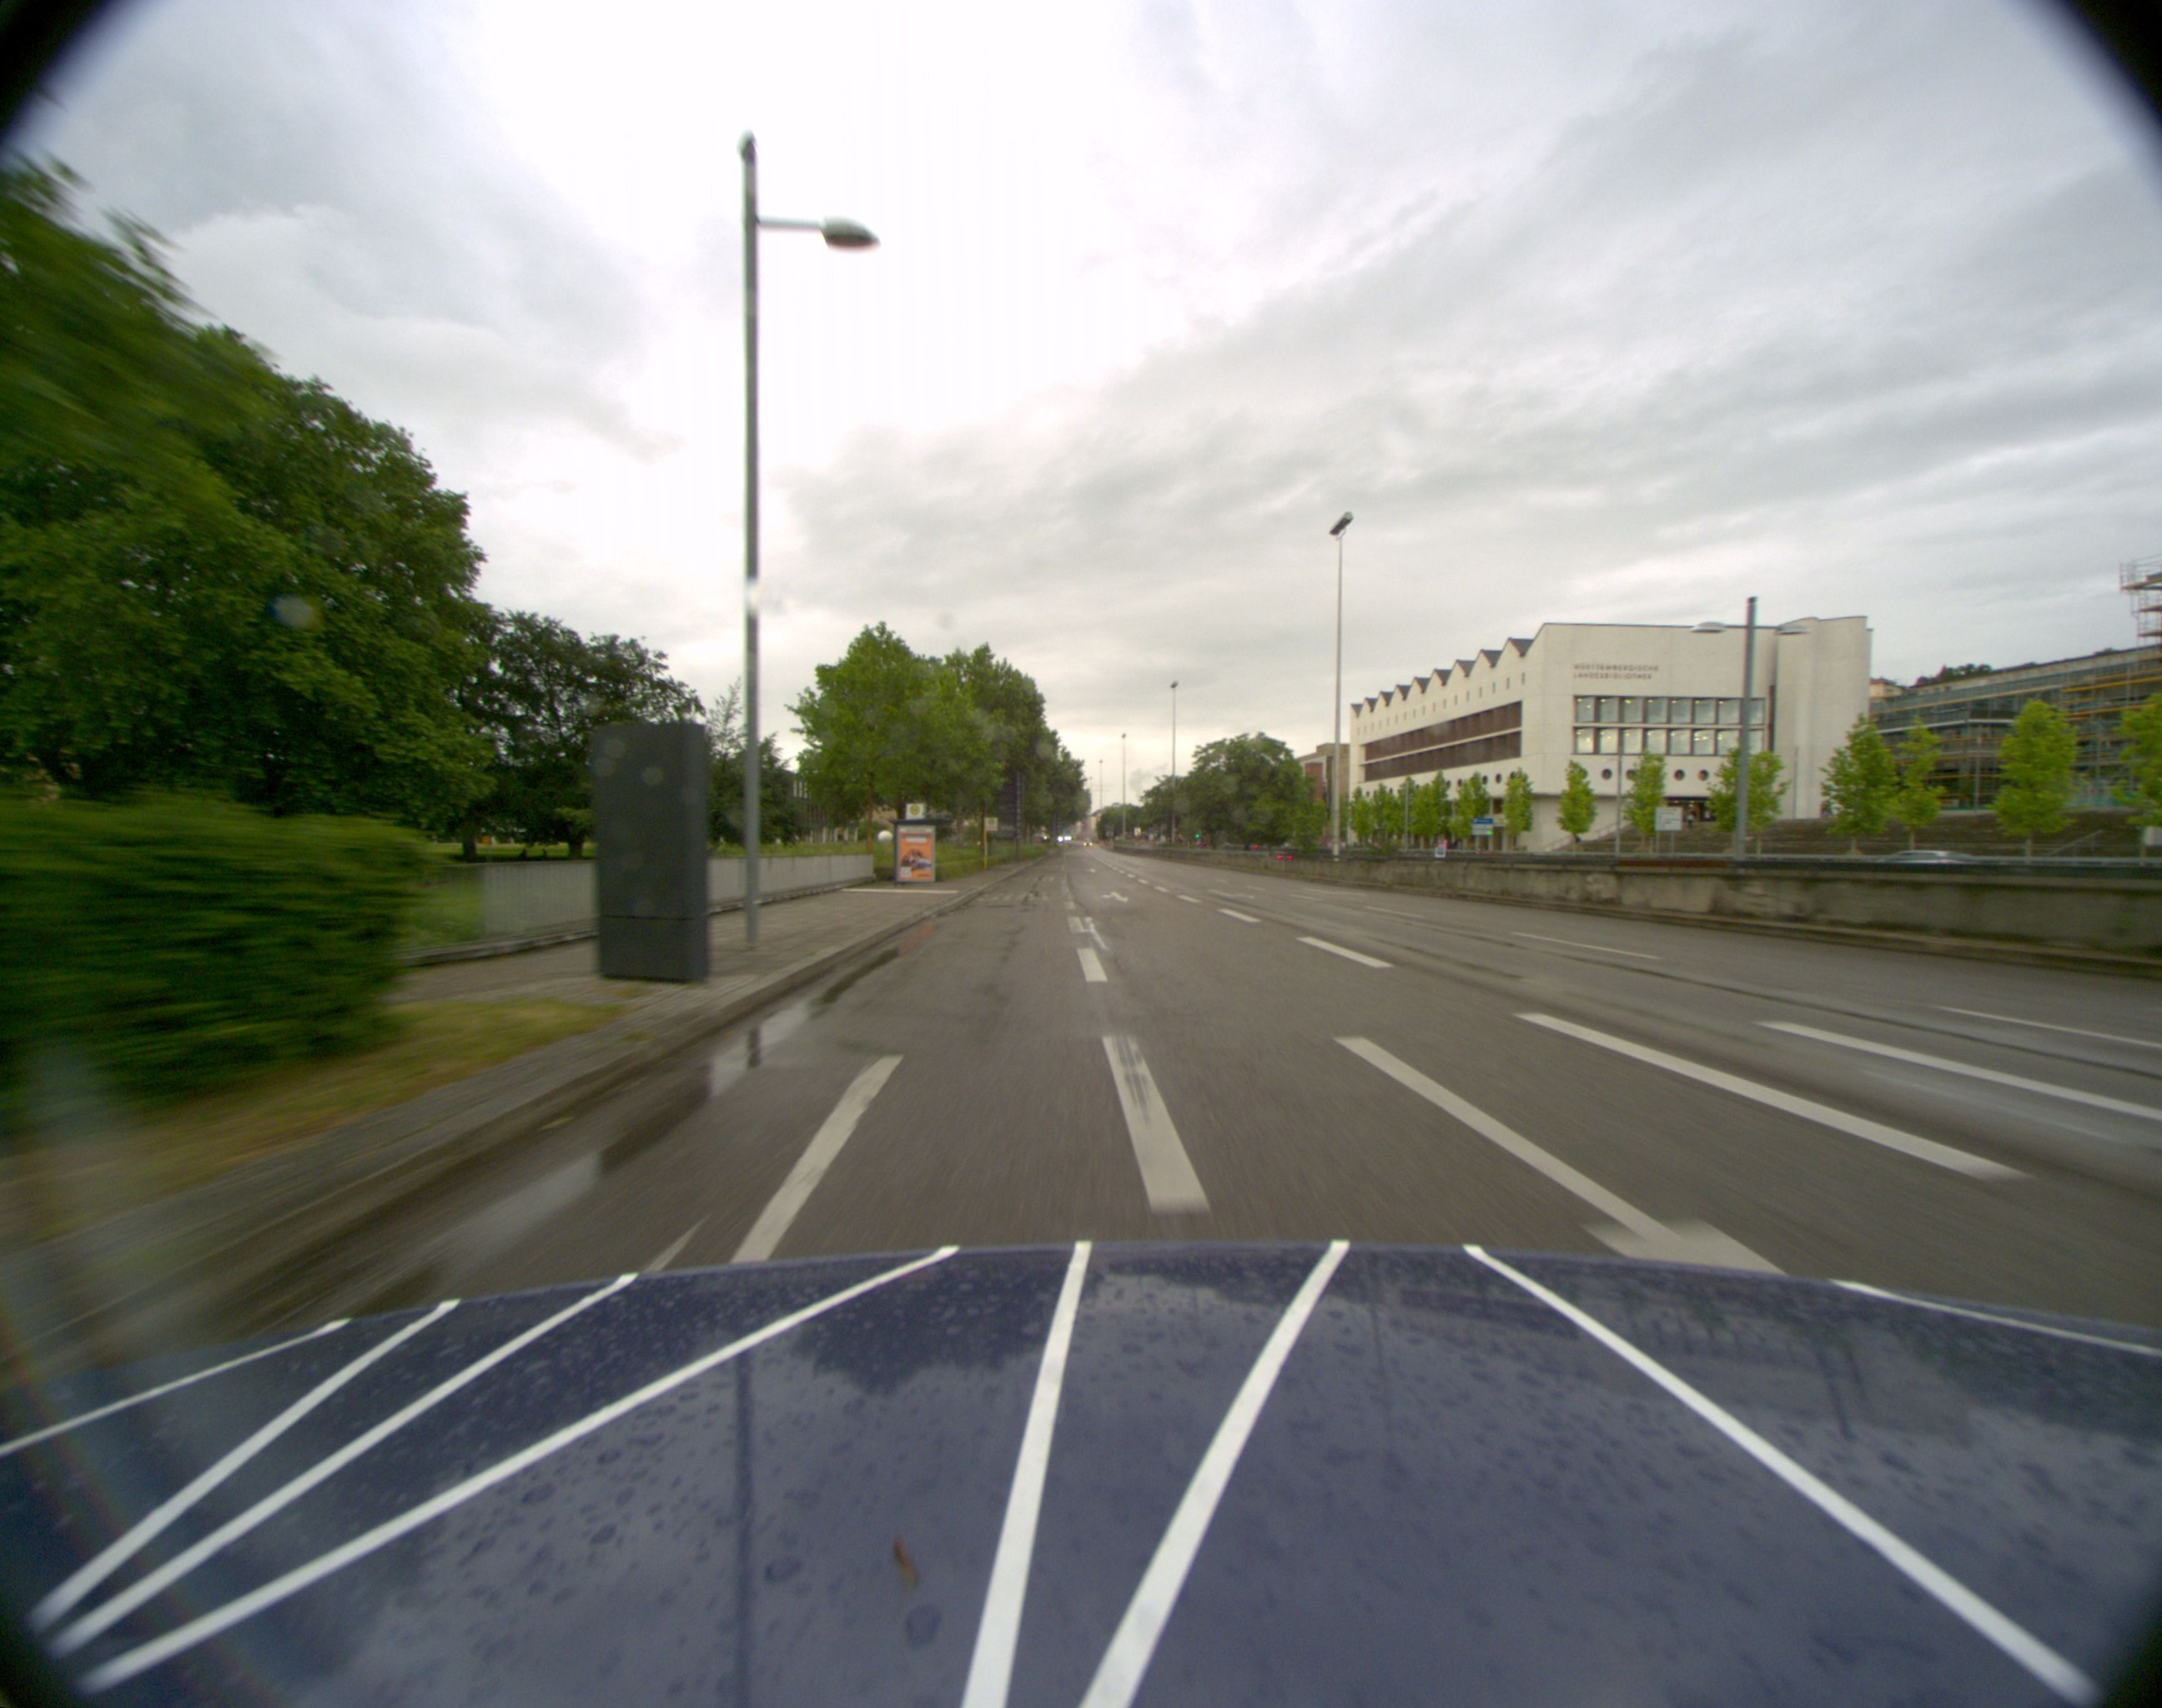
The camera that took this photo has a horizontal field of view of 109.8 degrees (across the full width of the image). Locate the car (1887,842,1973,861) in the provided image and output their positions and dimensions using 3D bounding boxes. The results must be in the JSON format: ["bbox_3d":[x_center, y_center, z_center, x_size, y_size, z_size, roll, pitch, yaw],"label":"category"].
[{"bbox_3d":[37.839,-0.112,33.928,0.821,0.741,2.551,-2,2,-6],"label":"car"}]

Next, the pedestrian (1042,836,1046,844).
[{"bbox_3d":[-8.033,-3.076,163.530,0.595,1.764,0.586,-2,3,-22],"label":"pedestrian"}]

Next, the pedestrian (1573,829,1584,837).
[{"bbox_3d":[52.268,-2.204,79.814,0.809,0.882,0.628,-1,3,-1],"label":"pedestrian"}]

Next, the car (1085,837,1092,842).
[{"bbox_3d":[1.811,-3.487,187.592,1.517,1.138,2.760,-1,2,2],"label":"car"}]

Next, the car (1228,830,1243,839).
[{"bbox_3d":[28.274,-3.549,139.169,1.699,1.547,3.473,-2,2,-5],"label":"car"}]

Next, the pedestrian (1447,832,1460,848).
[{"bbox_3d":[42.291,-1.578,86.291,1.087,1.856,0.830,-1,3,12],"label":"pedestrian"}]

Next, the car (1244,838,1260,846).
[{"bbox_3d":[27.436,-1.971,121.970,1.569,1.220,3.540,-1,2,-1],"label":"car"}]
